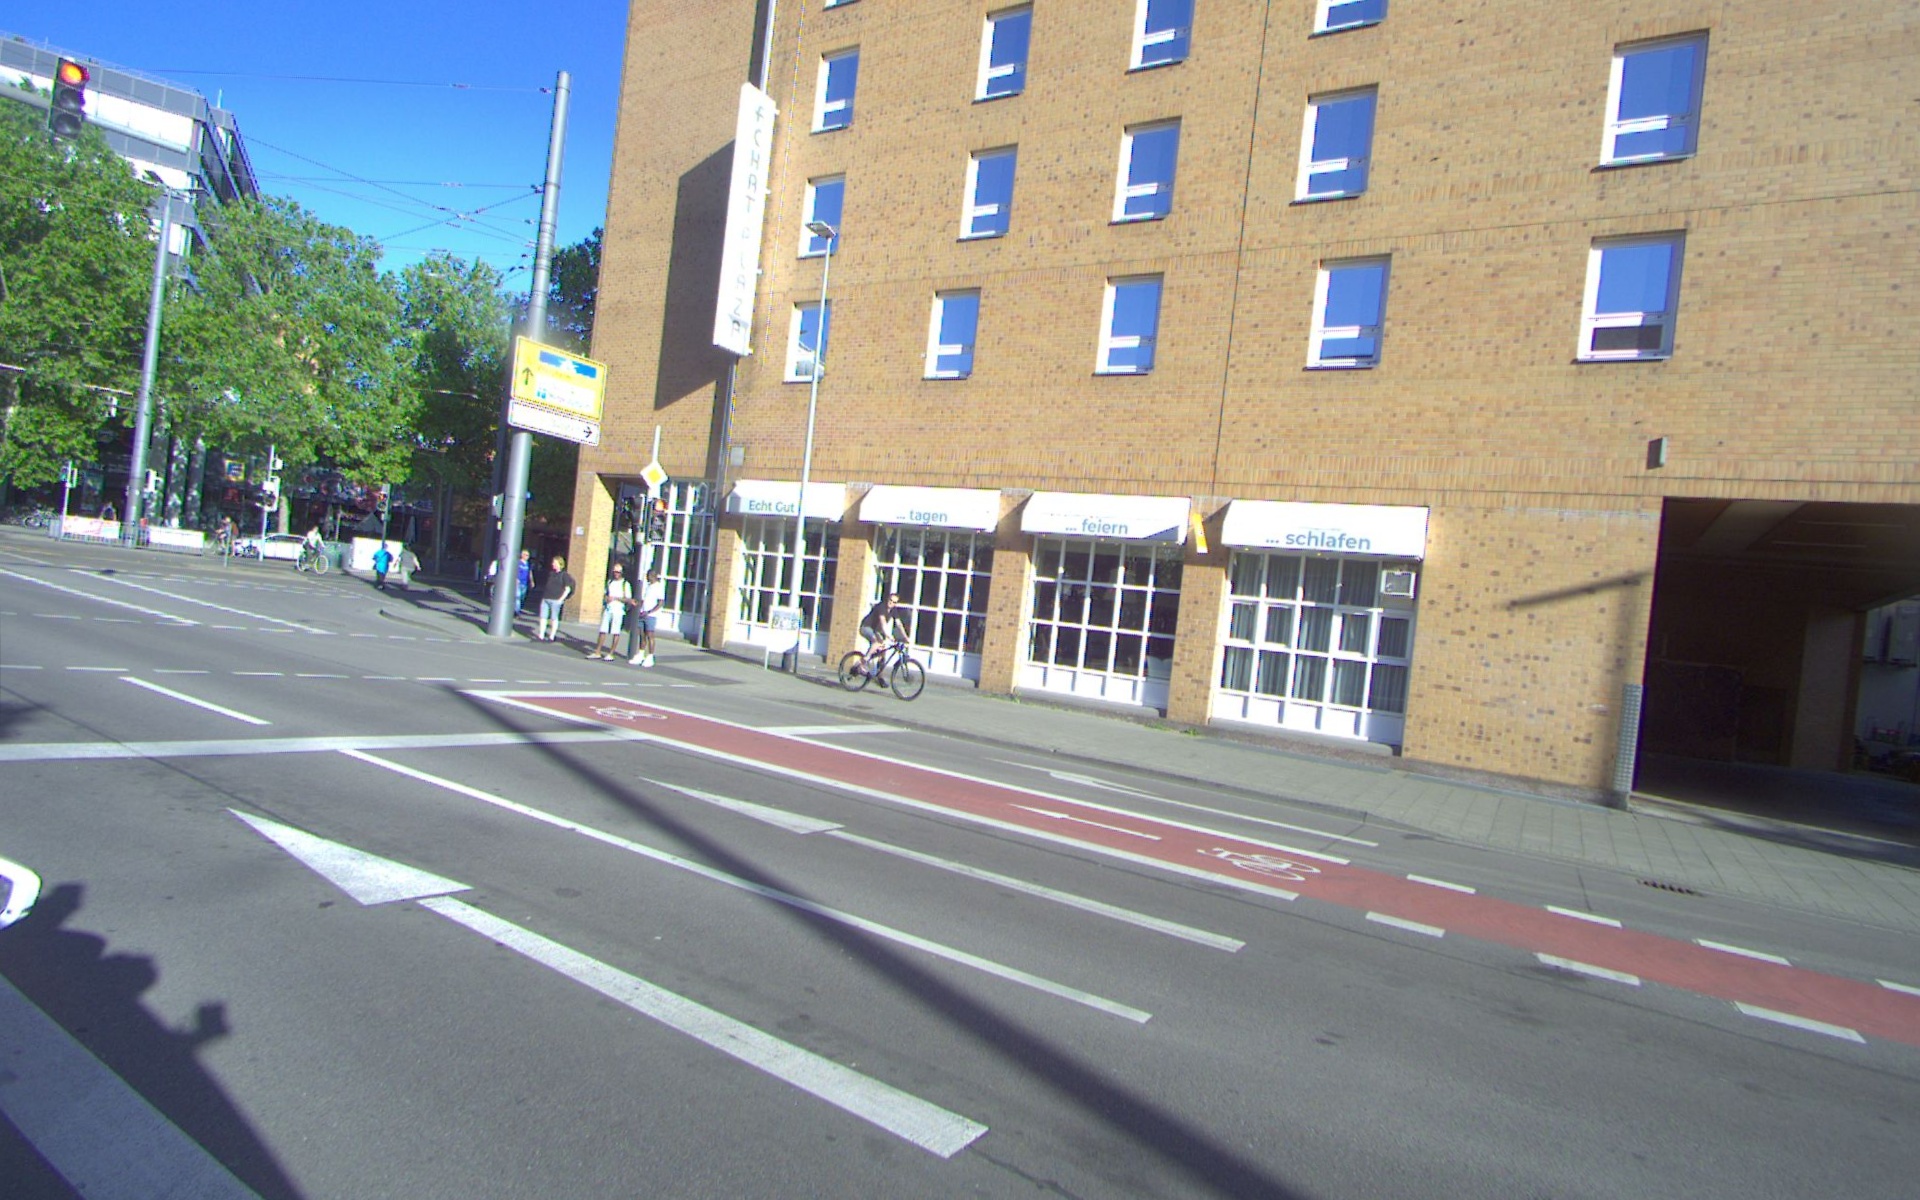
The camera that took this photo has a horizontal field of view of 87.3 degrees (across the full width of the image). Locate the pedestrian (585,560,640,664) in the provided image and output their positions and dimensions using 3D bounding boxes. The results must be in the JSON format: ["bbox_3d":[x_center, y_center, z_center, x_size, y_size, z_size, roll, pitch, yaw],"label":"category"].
[{"bbox_3d":[-6.510,0.219,18.845,0.719,1.857,0.497,5,2,-3],"label":"pedestrian"}]

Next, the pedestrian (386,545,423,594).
[{"bbox_3d":[-18.969,-1.032,34.358,0.729,1.557,0.652,6,-1,24],"label":"pedestrian"}]

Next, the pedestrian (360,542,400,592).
[{"bbox_3d":[-19.381,-1.097,33.625,0.729,1.557,0.677,6,-1,24],"label":"pedestrian"}]

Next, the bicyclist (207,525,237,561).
[{"bbox_3d":[-36.274,-2.792,49.452,0.627,1.635,0.926,7,0,35],"label":"bicyclist"}]

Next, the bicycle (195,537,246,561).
[{"bbox_3d":[-36.325,-2.497,49.441,0.642,0.921,1.854,7,-1,36],"label":"bicycle"}]

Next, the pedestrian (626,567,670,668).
[{"bbox_3d":[-5.786,0.325,18.638,0.571,1.797,0.403,7,2,42],"label":"pedestrian"}]

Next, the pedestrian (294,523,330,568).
[{"bbox_3d":[-25.625,-2.152,39.772,0.824,1.612,0.771,6,-1,31],"label":"pedestrian"}]

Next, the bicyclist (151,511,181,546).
[{"bbox_3d":[-48.075,-4.342,60.907,1.223,1.955,0.825,7,0,-43],"label":"bicyclist"}]

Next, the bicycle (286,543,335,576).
[{"bbox_3d":[-25.672,-1.598,39.758,1.891,1.064,0.791,6,-2,32],"label":"bicycle"}]

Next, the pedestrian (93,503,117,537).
[{"bbox_3d":[-51.522,-4.808,60.610,0.845,1.873,0.800,10,-2,-44],"label":"pedestrian"}]

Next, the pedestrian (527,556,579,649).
[{"bbox_3d":[-8.346,0.052,20.654,0.683,1.789,0.573,8,0,-9],"label":"pedestrian"}]

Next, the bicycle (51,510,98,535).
[{"bbox_3d":[-45.233,-3.954,51.401,1.700,0.998,0.386,7,0,-45],"label":"bicycle"}]

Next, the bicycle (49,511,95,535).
[{"bbox_3d":[-45.853,-3.979,51.983,1.700,0.998,0.386,7,0,-45],"label":"bicycle"}]

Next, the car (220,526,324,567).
[{"bbox_3d":[-36.139,-2.802,52.918,1.969,1.503,3.990,6,-3,36],"label":"car"}]

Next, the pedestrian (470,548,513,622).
[{"bbox_3d":[-11.617,-0.375,24.947,0.650,1.723,0.560,6,-1,41],"label":"pedestrian"}]

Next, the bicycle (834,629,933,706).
[{"bbox_3d":[-1.333,1.122,17.201,0.598,1.065,1.857,1,5,-44],"label":"bicycle"}]

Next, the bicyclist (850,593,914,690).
[{"bbox_3d":[-1.339,0.702,17.192,0.576,1.536,0.839,1,6,-44],"label":"bicyclist"}]

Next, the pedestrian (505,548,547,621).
[{"bbox_3d":[-10.981,-0.397,25.465,0.594,1.747,0.601,6,-1,40],"label":"pedestrian"}]
